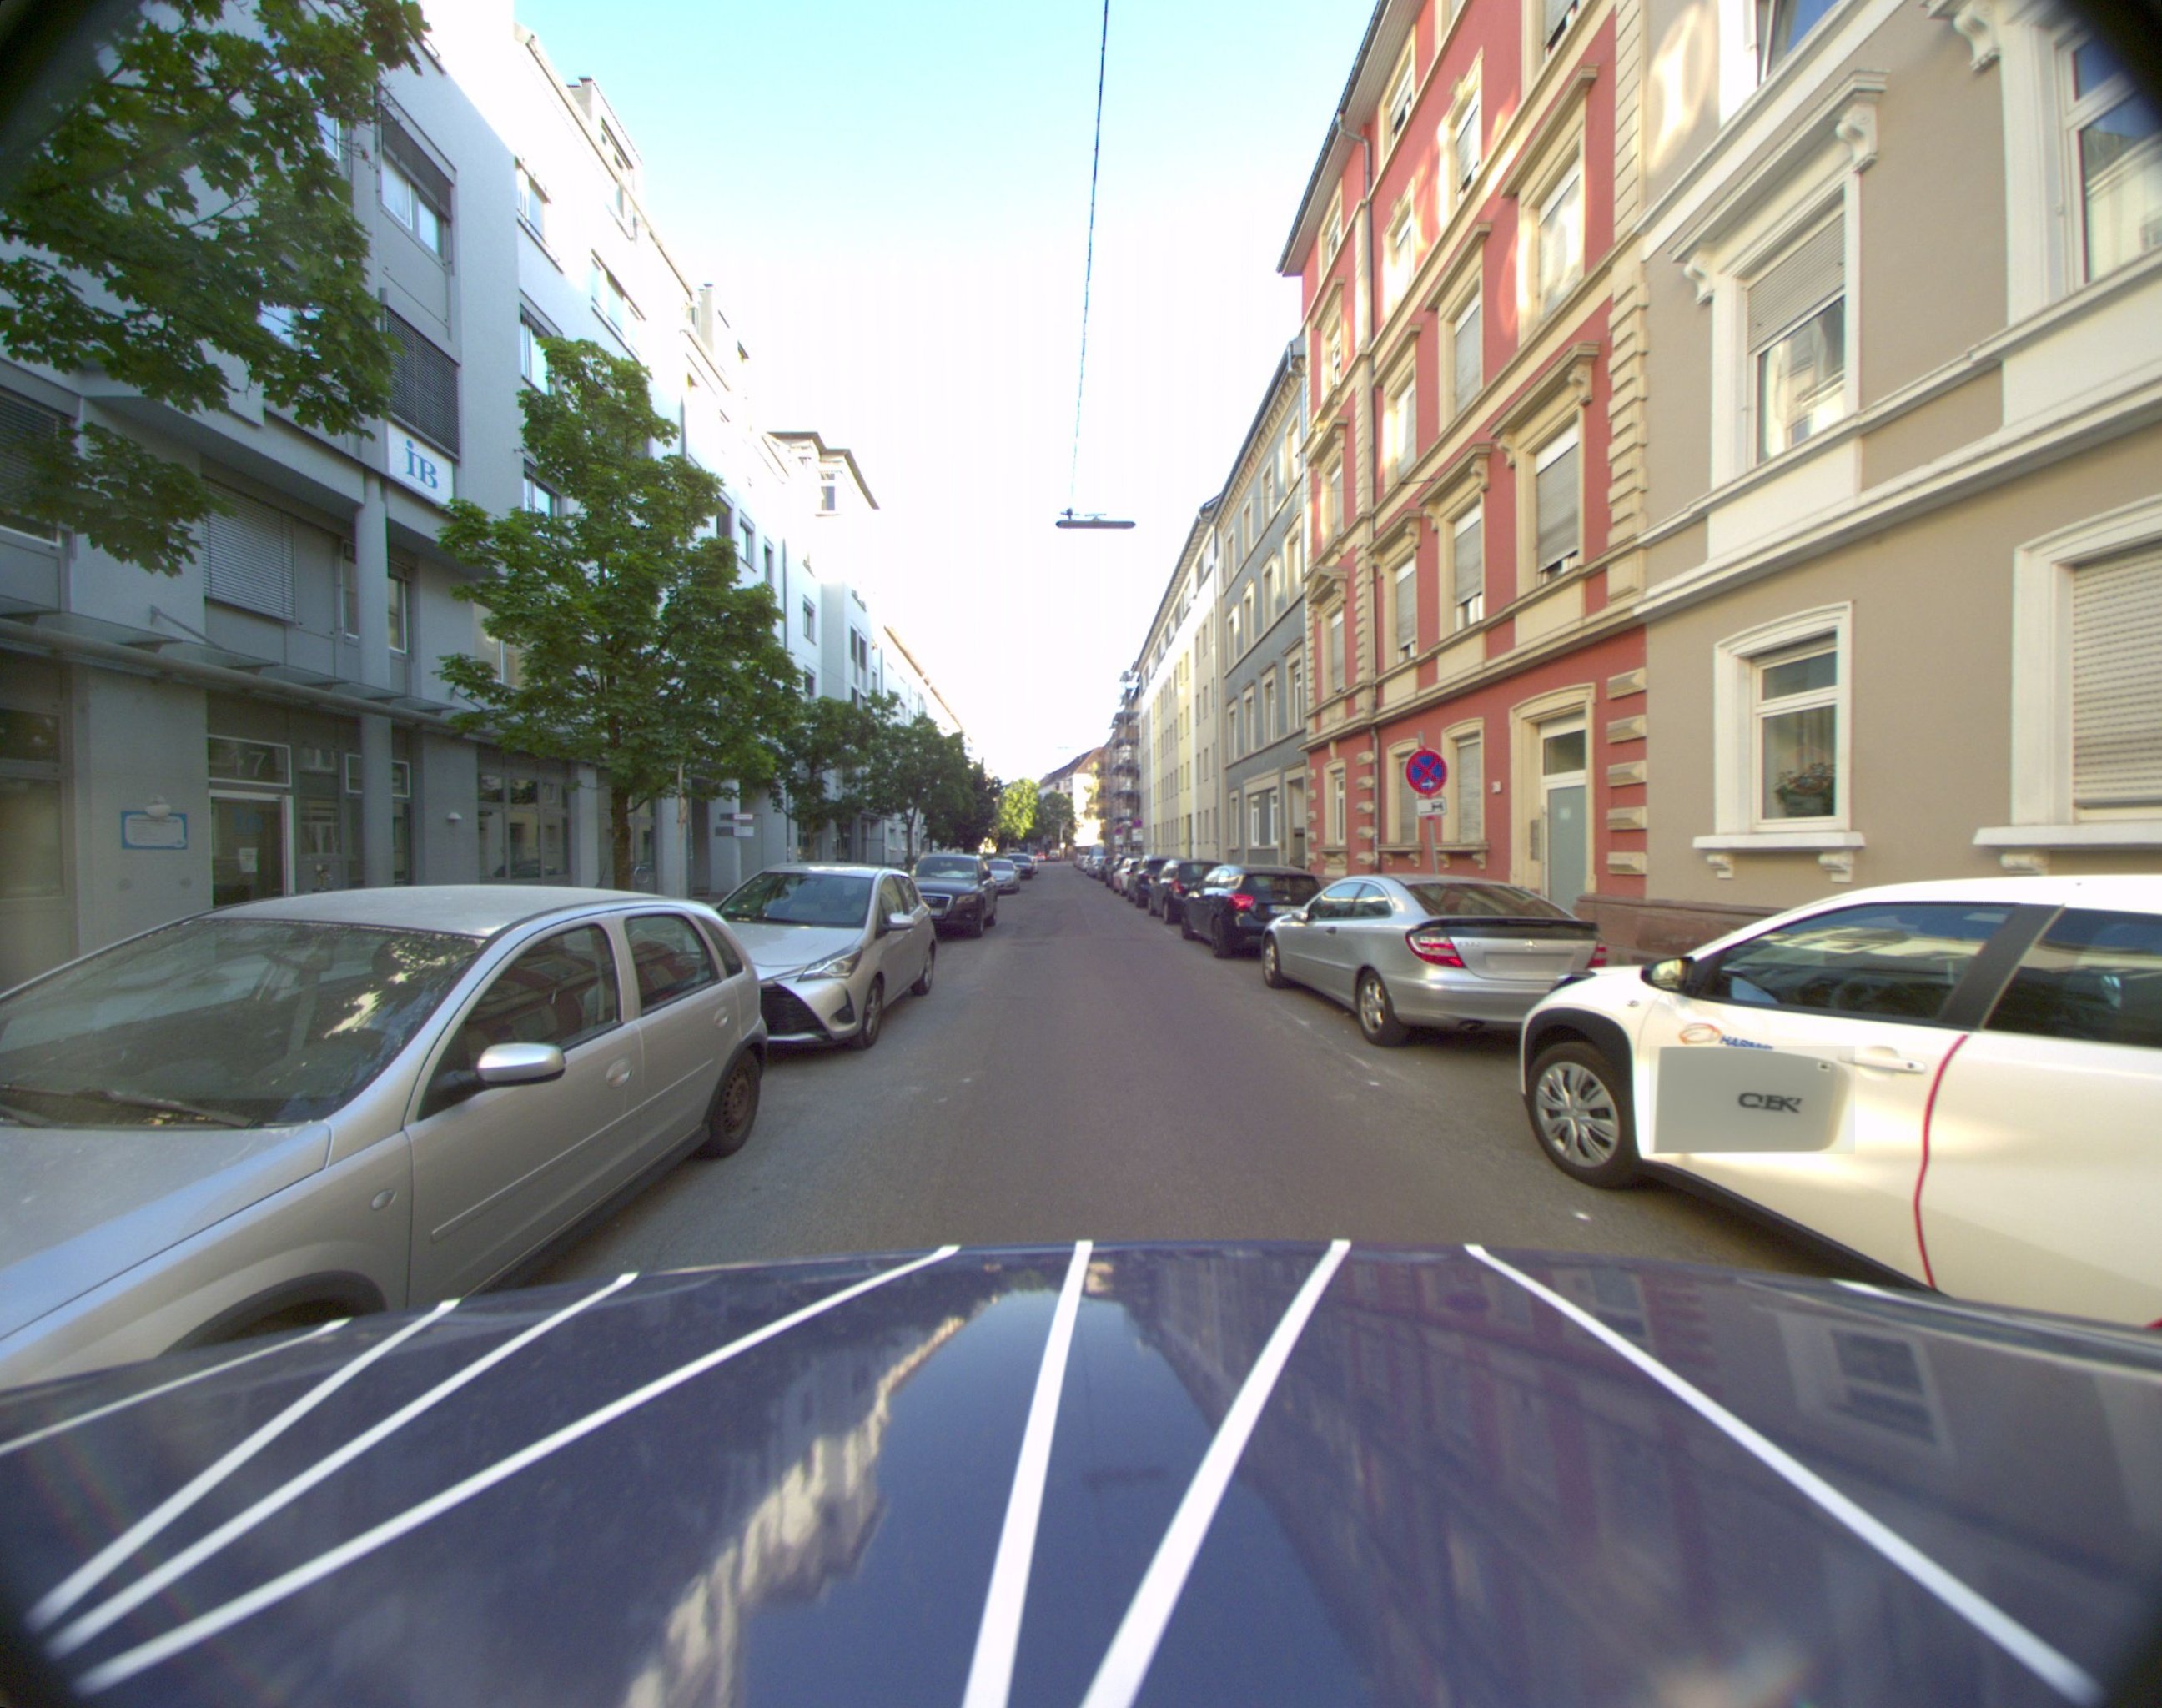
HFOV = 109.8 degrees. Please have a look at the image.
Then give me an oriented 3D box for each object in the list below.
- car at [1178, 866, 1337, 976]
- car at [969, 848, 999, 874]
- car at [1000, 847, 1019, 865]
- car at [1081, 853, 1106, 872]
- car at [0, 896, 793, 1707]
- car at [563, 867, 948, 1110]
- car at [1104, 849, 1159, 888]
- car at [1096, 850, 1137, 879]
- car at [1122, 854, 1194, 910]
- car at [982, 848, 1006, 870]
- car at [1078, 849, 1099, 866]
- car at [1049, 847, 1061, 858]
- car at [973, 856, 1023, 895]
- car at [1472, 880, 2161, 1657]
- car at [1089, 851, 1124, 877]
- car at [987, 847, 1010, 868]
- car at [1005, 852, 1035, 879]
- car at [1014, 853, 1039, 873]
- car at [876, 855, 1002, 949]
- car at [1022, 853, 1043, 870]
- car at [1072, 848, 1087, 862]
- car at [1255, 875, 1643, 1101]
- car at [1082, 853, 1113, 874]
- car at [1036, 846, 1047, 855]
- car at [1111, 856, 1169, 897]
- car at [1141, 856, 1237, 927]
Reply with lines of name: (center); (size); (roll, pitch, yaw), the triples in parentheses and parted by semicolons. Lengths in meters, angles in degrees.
car: (2.751, 0.976, 12.713); (1.589, 1.407, 3.911); (3, 0, -2)
car: (-7.820, 0.537, 61.555); (1.999, 2.002, 3.998); (-1, 0, -3)
car: (-8.291, 0.209, 88.262); (1.999, 2.002, 3.998); (-1, 0, -3)
car: (1.111, 0.779, 69.662); (1.999, 1.576, 4.492); (-1, 1, -3)
car: (-2.674, 1.011, 2.748); (1.638, 1.439, 4.066); (-1, 0, 1)
car: (-2.638, 0.984, 7.336); (1.913, 1.576, 4.000); (-1, 0, 1)
car: (2.244, 0.597, 34.892); (1.999, 1.640, 4.492); (-1, 1, -3)
car: (2.034, 0.567, 44.811); (1.999, 1.576, 4.492); (-1, 1, -3)
car: (2.329, 0.790, 23.843); (1.598, 1.513, 4.428); (-1, 1, -2)
car: (-8.088, 0.441, 71.050); (1.999, 2.002, 3.998); (-1, 0, -3)
car: (0.767, 0.353, 79.901); (1.999, 1.783, 3.999); (-1, 0, -2)
car: (-4.553, -0.257, 132.201); (1.999, 1.783, 3.999); (-1, 0, -2)
car: (-3.493, 0.876, 32.522); (1.856, 1.480, 3.998); (-1, 0, -3)
car: (3.116, 0.952, 2.405); (1.688, 1.487, 3.843); (3, 1, 0)
car: (1.621, 0.601, 49.500); (1.999, 1.566, 4.148); (-1, 0, -2)
car: (-8.152, 0.346, 75.539); (1.999, 2.002, 3.998); (-1, 0, -3)
car: (-3.914, 0.693, 48.997); (1.856, 1.649, 3.998); (-1, 0, -4)
car: (-4.374, 0.695, 61.449); (1.903, 1.510, 4.222); (-1, 0, -3)
car: (-2.864, 0.892, 16.286); (1.863, 1.679, 4.390); (-1, 0, 0)
car: (-4.376, 0.686, 69.207); (1.856, 1.480, 3.998); (-1, 0, -3)
car: (-0.225, 0.147, 102.338); (1.999, 1.783, 3.999); (-1, 0, -2)
car: (3.053, 1.008, 7.335); (1.614, 1.420, 3.960); (2, 0, -3)
car: (1.184, 0.668, 54.779); (1.999, 1.437, 3.999); (-1, 0, -2)
car: (-6.774, -0.603, 130.618); (1.703, 1.537, 3.829); (-1, 0, -1)
car: (2.230, 0.822, 29.777); (1.662, 1.420, 4.351); (-1, 1, -4)
car: (2.543, 0.838, 18.837); (1.537, 1.490, 4.194); (1, 1, -3)
